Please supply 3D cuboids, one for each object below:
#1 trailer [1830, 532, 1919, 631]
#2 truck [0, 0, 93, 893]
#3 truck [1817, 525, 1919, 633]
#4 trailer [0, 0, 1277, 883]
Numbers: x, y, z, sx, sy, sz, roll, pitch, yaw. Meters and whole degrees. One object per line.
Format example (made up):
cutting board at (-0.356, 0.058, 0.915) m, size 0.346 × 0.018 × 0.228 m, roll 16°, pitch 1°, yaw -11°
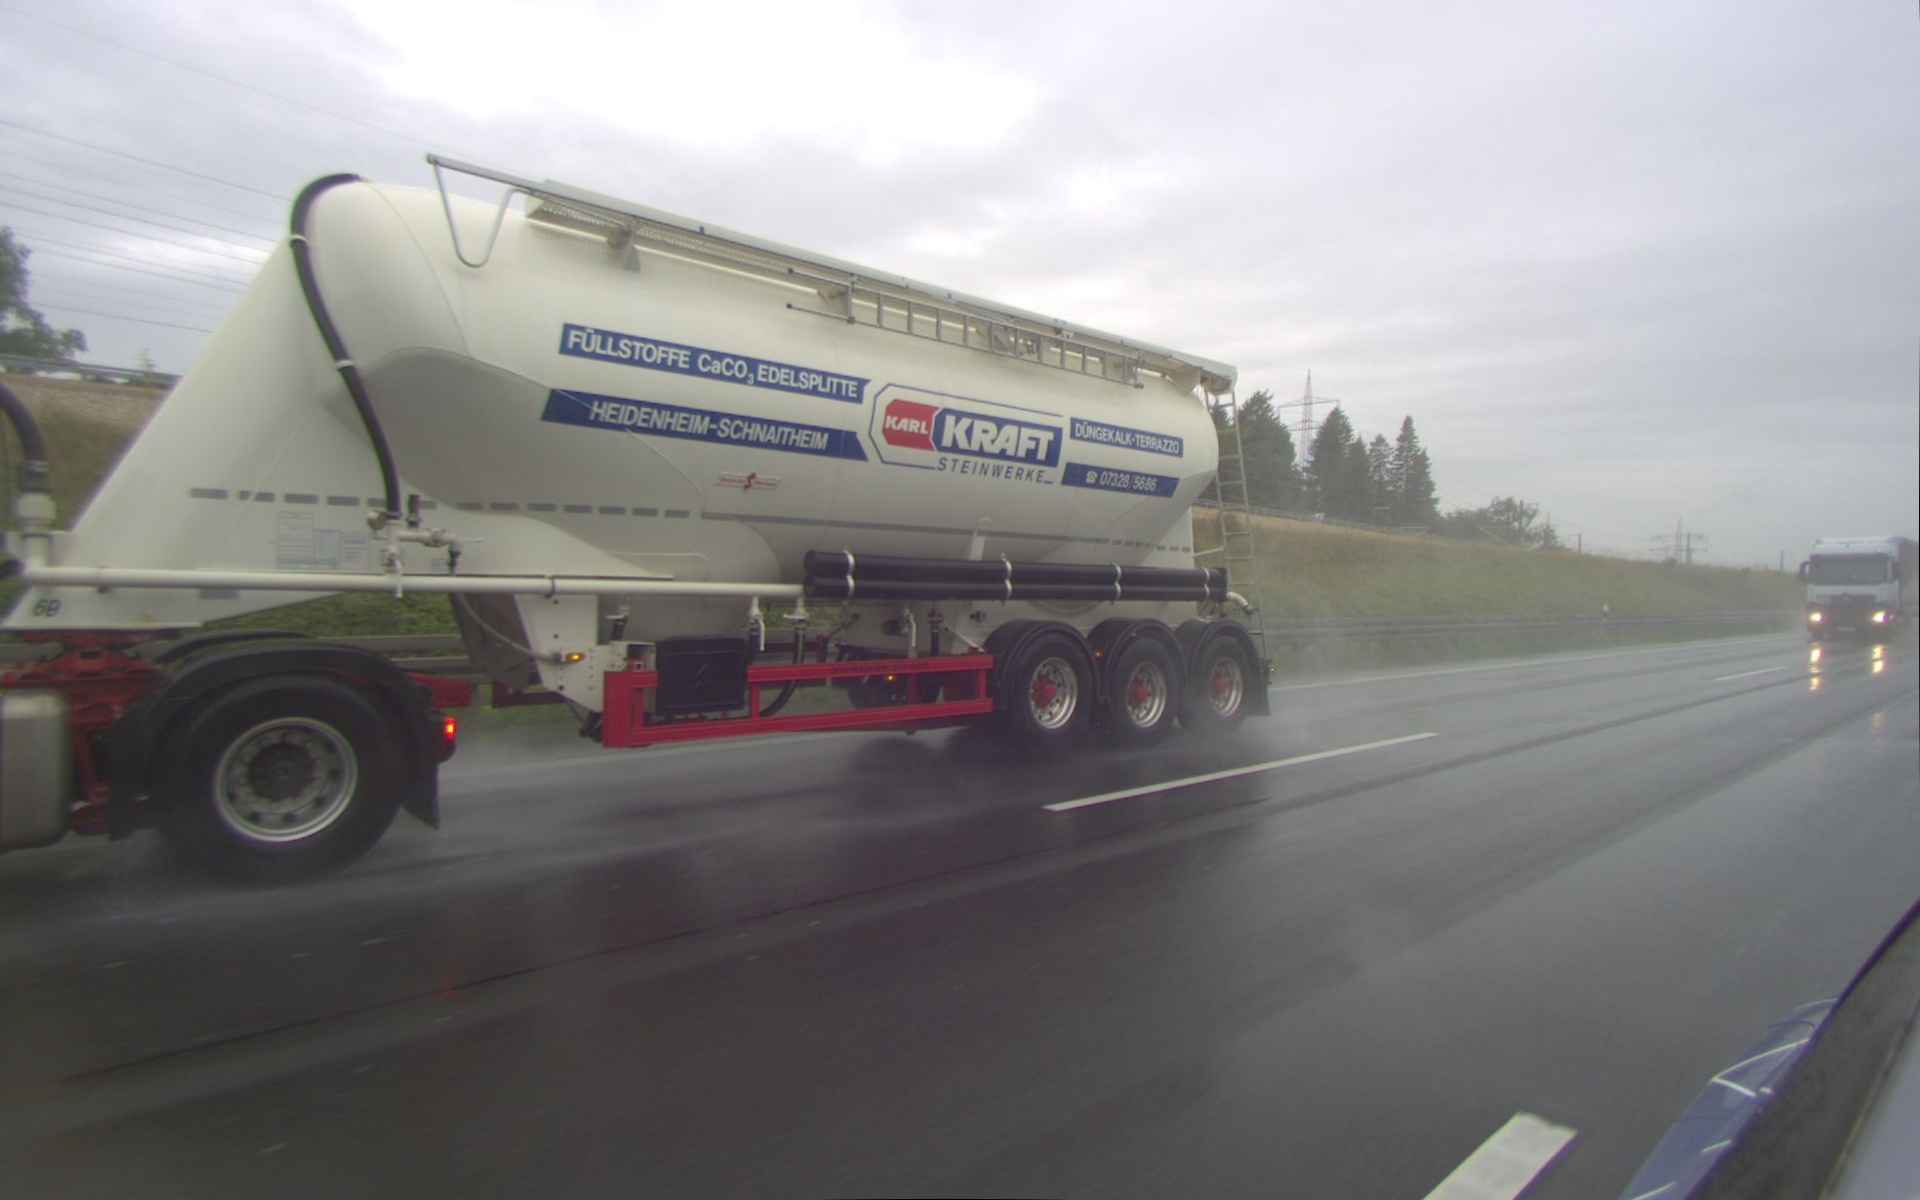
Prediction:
trailer at (42.061, -0.639, 45.259) m, size 16.253 × 3.813 × 2.484 m, roll 1°, pitch -1°, yaw -41°
truck at (-6.421, -0.850, 3.609) m, size 4.987 × 4.034 × 2.501 m, roll 1°, pitch -1°, yaw -41°
truck at (36.042, -0.732, 39.957) m, size 6.089 × 3.939 × 2.456 m, roll 1°, pitch -1°, yaw -41°
trailer at (-1.570, -0.763, 7.941) m, size 10.873 × 3.932 × 2.501 m, roll 1°, pitch -1°, yaw -42°
